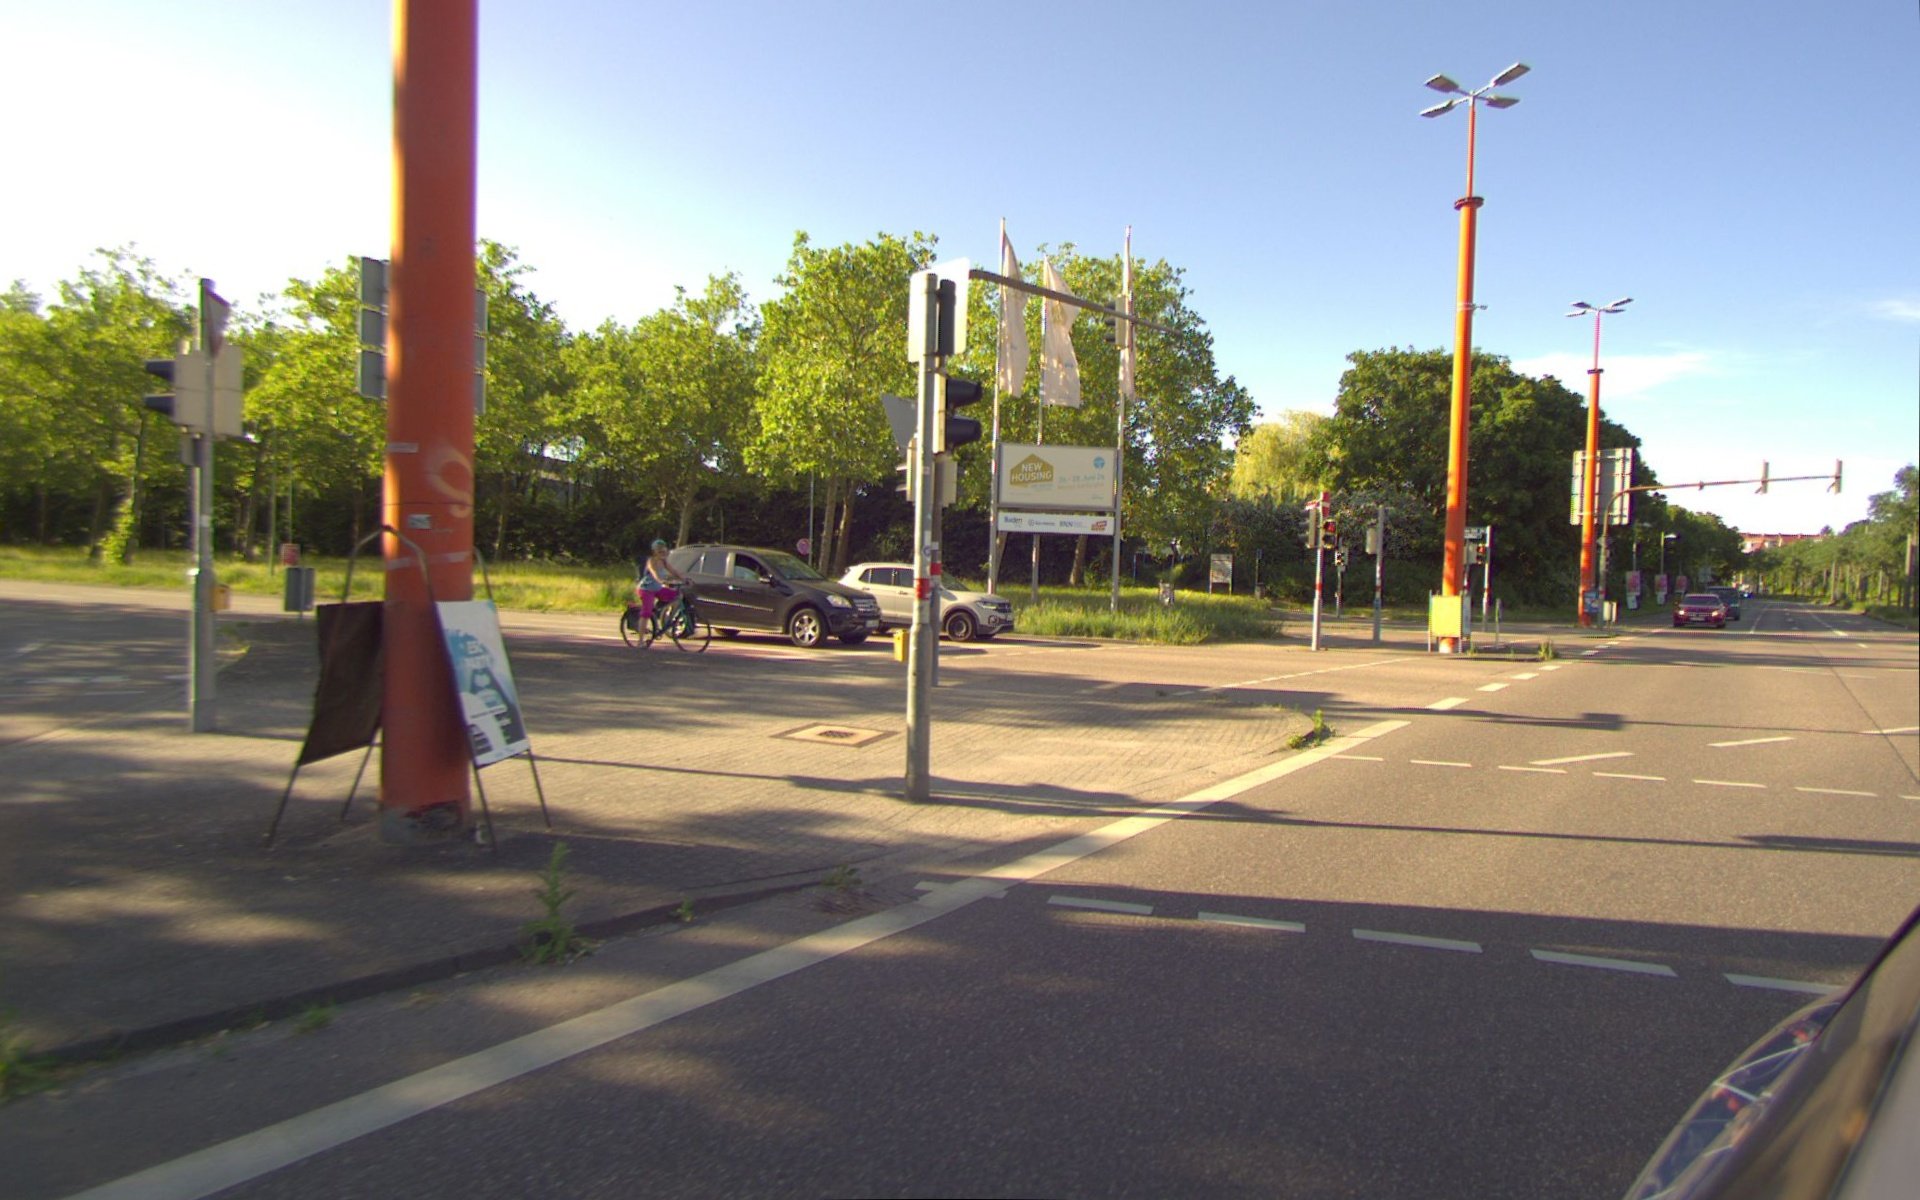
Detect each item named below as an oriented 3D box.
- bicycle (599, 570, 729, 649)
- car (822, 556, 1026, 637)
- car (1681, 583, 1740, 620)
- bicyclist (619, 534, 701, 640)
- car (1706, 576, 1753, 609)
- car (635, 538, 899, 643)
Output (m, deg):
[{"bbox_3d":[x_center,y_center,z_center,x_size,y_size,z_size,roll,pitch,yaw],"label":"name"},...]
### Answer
[{"bbox_3d":[-4.620,0.118,15.766,1.998,1.105,0.758,3,2,30],"label":"bicycle"},{"bbox_3d":[-0.770,-0.115,21.881,4.043,1.558,1.761,2,1,22],"label":"car"},{"bbox_3d":[33.484,0.029,45.168,1.989,1.513,4.232,3,2,37],"label":"car"},{"bbox_3d":[-4.681,-0.212,15.796,0.973,1.576,0.754,3,2,29],"label":"bicyclist"},{"bbox_3d":[45.230,-0.459,59.446,1.991,1.753,4.750,3,2,39],"label":"car"},{"bbox_3d":[-3.638,-0.232,19.040,4.600,1.748,1.894,2,1,23],"label":"car"}]
